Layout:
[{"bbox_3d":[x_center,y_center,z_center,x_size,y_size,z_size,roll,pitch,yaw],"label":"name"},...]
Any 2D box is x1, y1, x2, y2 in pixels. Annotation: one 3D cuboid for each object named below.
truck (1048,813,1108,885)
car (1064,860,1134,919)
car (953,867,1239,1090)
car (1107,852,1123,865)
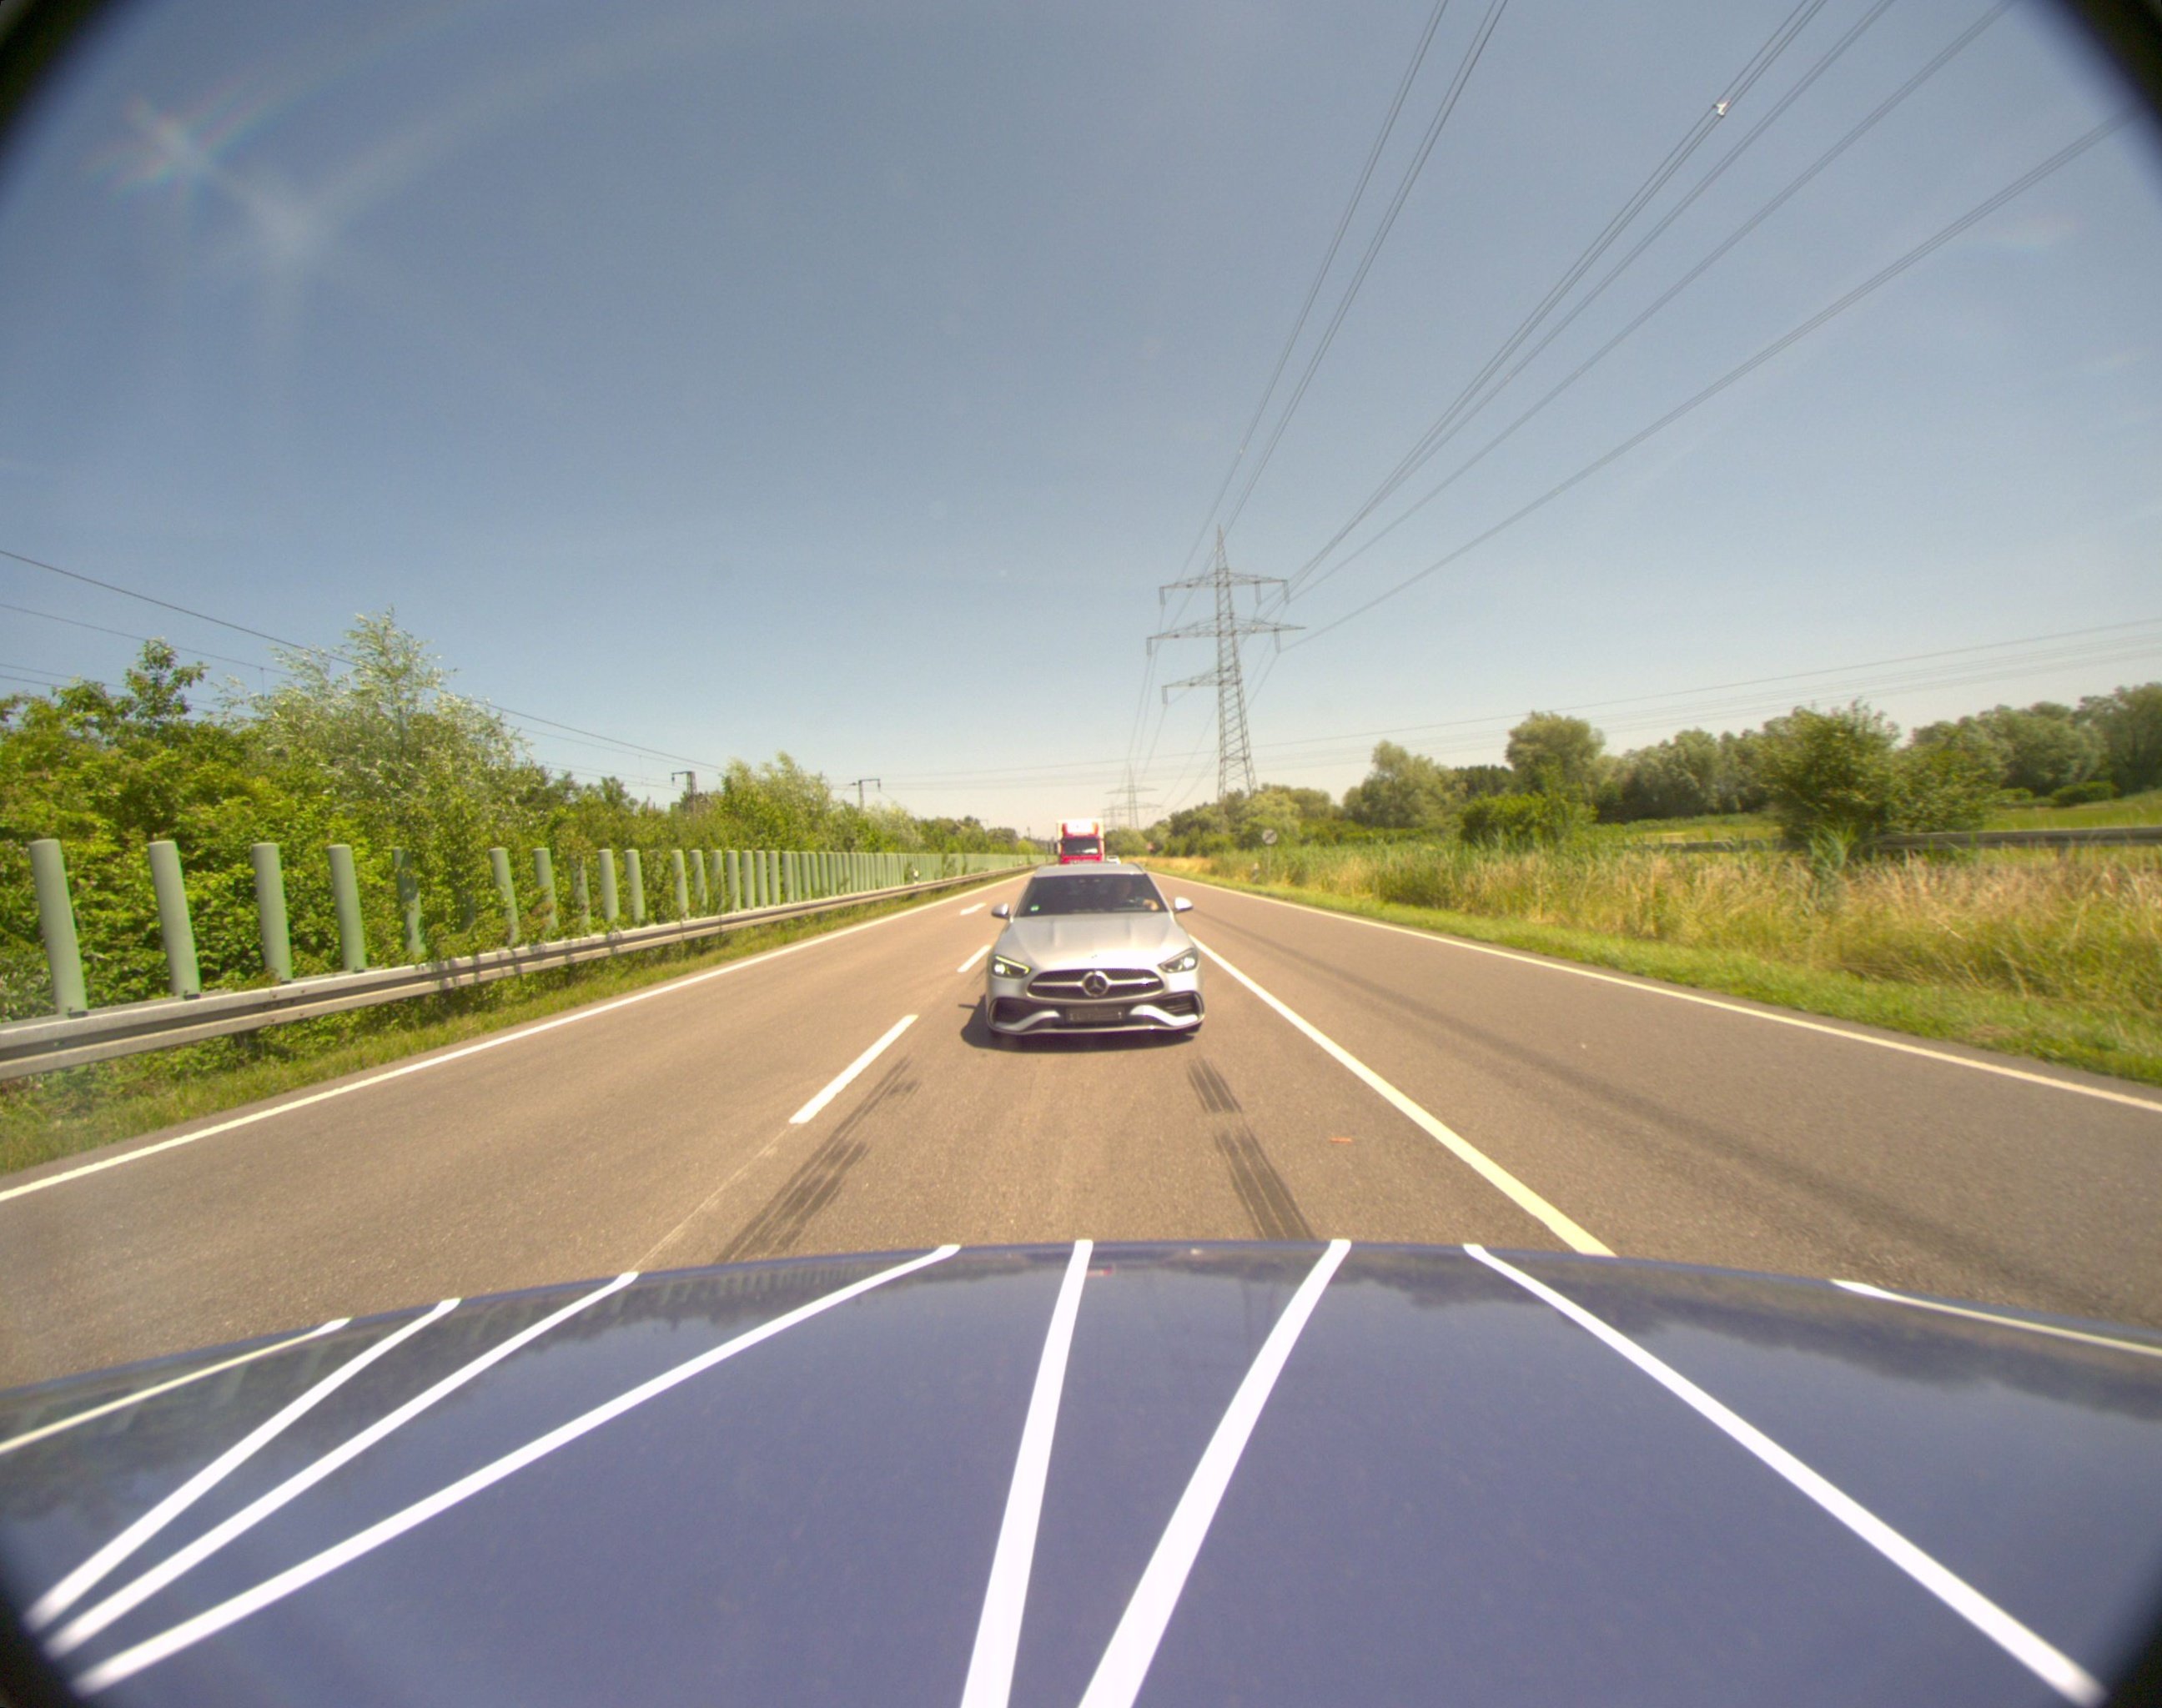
[{"bbox_3d":[-0.205,-0.264,43.755,2.907,3.641,7.155,-4,0,-1],"label":"truck"},{"bbox_3d":[0.509,0.916,21.368,1.698,1.385,4.467,-2,0,1],"label":"car"},{"bbox_3d":[0.136,0.926,7.647,1.998,1.437,4.467,-2,0,1],"label":"car"},{"bbox_3d":[4.239,0.574,94.083,1.729,1.432,4.250,-6,0,3],"label":"car"}]
